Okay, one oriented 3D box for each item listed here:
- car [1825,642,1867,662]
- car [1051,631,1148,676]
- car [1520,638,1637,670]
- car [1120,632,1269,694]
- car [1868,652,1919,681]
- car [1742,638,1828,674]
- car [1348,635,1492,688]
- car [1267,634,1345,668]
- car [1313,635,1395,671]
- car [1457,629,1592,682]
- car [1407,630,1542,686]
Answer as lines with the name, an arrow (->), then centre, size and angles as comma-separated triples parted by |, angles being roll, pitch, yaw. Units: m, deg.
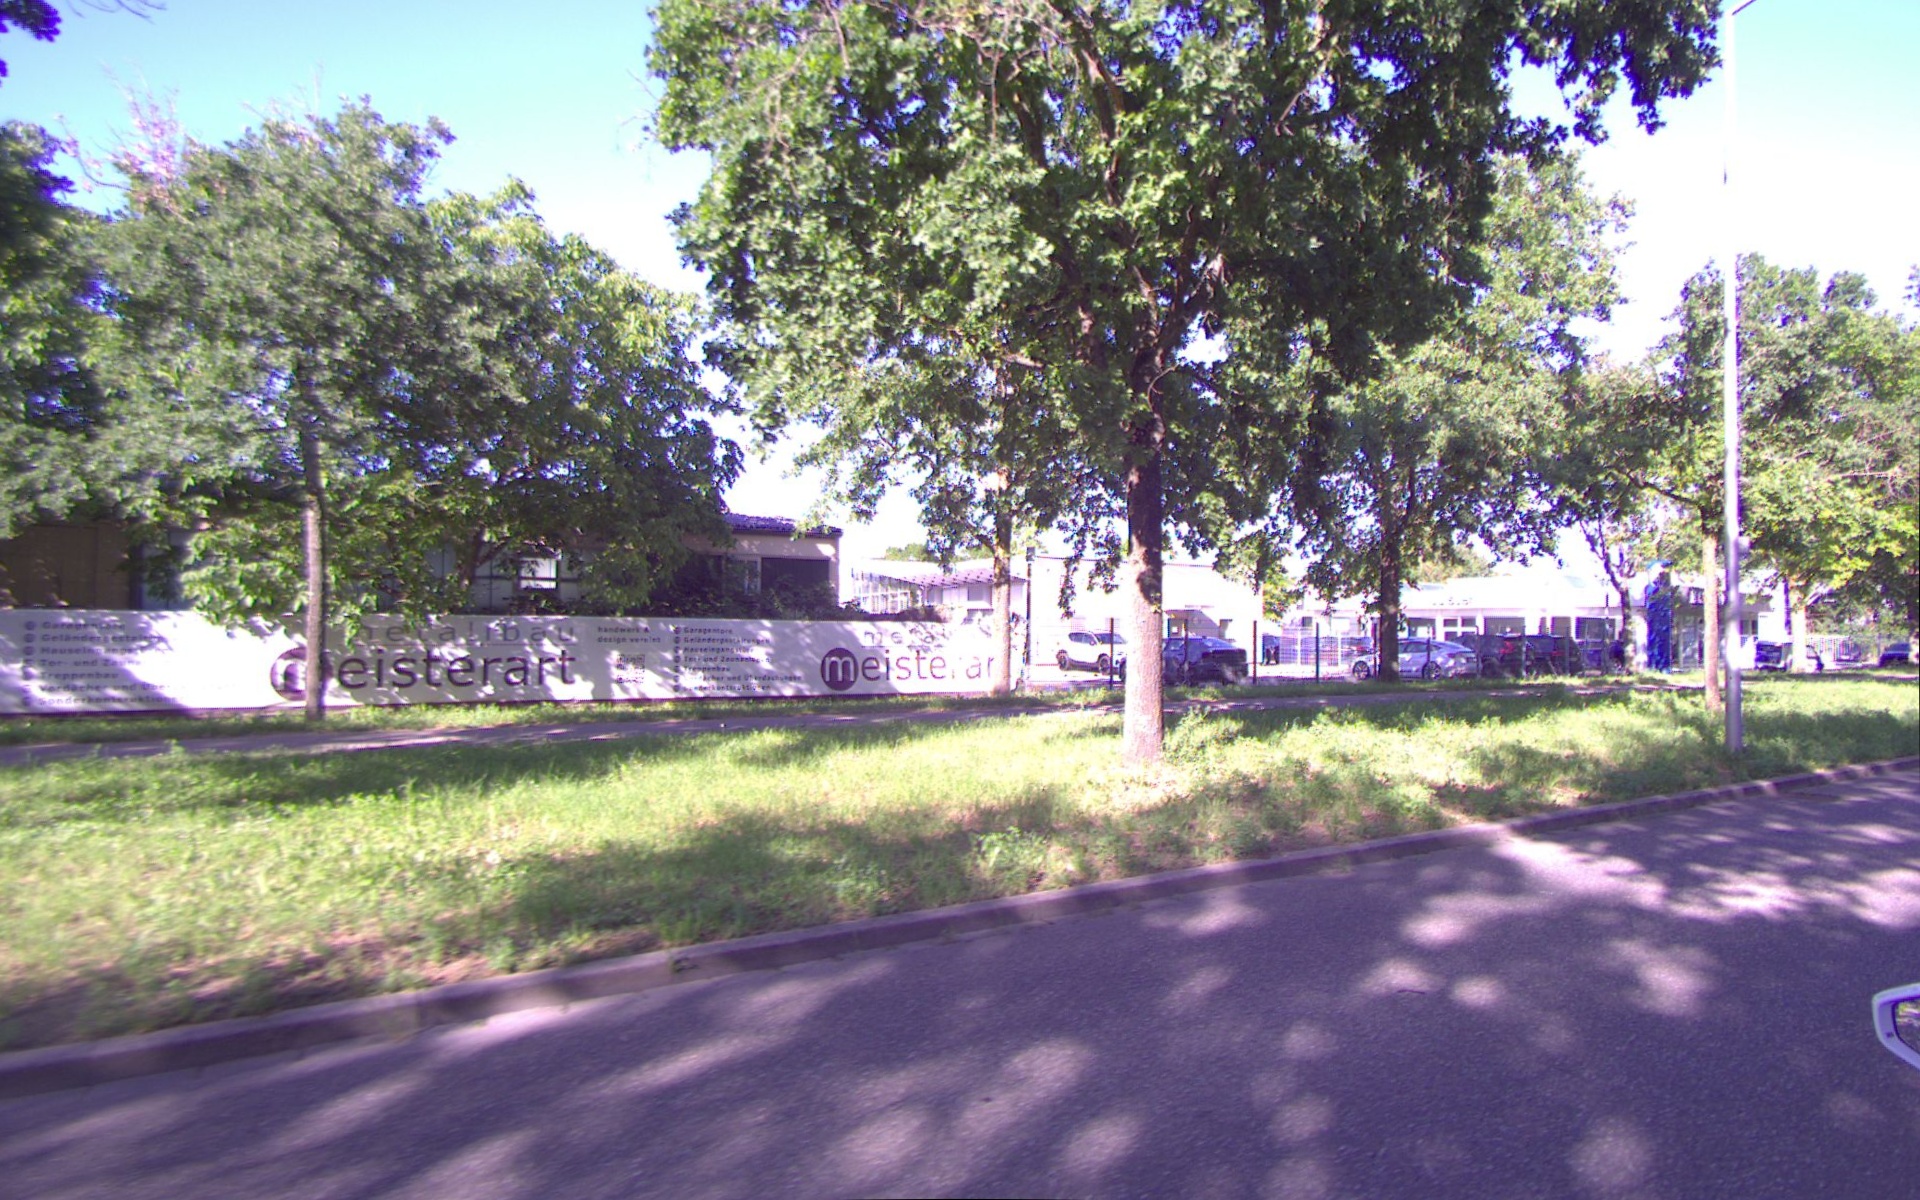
car -> 77.544, 4.560, 87.893 | 4.845, 1.587, 1.977 | 2, 0, -40
car -> 5.418, 2.071, 39.472 | 1.730, 1.539, 3.969 | 2, 0, -29
car -> 33.956, 2.953, 55.277 | 5.153, 1.683, 2.001 | 0, 0, 6
car -> 6.847, 1.812, 29.712 | 2.172, 1.539, 3.969 | 2, 0, -29
car -> 59.149, 4.129, 63.125 | 4.964, 1.619, 1.981 | 2, 0, -34
car -> 35.970, 2.432, 43.822 | 1.402, 1.489, 2.567 | 1, -2, -15
car -> 15.888, 2.092, 34.939 | 1.840, 1.539, 4.291 | 2, 0, -29
car -> 18.919, 2.727, 54.803 | 1.973, 1.683, 5.226 | 1, 0, 45
car -> 20.169, 2.674, 51.313 | 1.973, 1.683, 5.226 | 1, 0, 45
car -> 21.058, 2.032, 37.619 | 1.976, 1.765, 3.970 | 2, 0, -29
car -> 18.502, 2.042, 36.307 | 1.840, 1.769, 3.969 | 2, 0, -29
